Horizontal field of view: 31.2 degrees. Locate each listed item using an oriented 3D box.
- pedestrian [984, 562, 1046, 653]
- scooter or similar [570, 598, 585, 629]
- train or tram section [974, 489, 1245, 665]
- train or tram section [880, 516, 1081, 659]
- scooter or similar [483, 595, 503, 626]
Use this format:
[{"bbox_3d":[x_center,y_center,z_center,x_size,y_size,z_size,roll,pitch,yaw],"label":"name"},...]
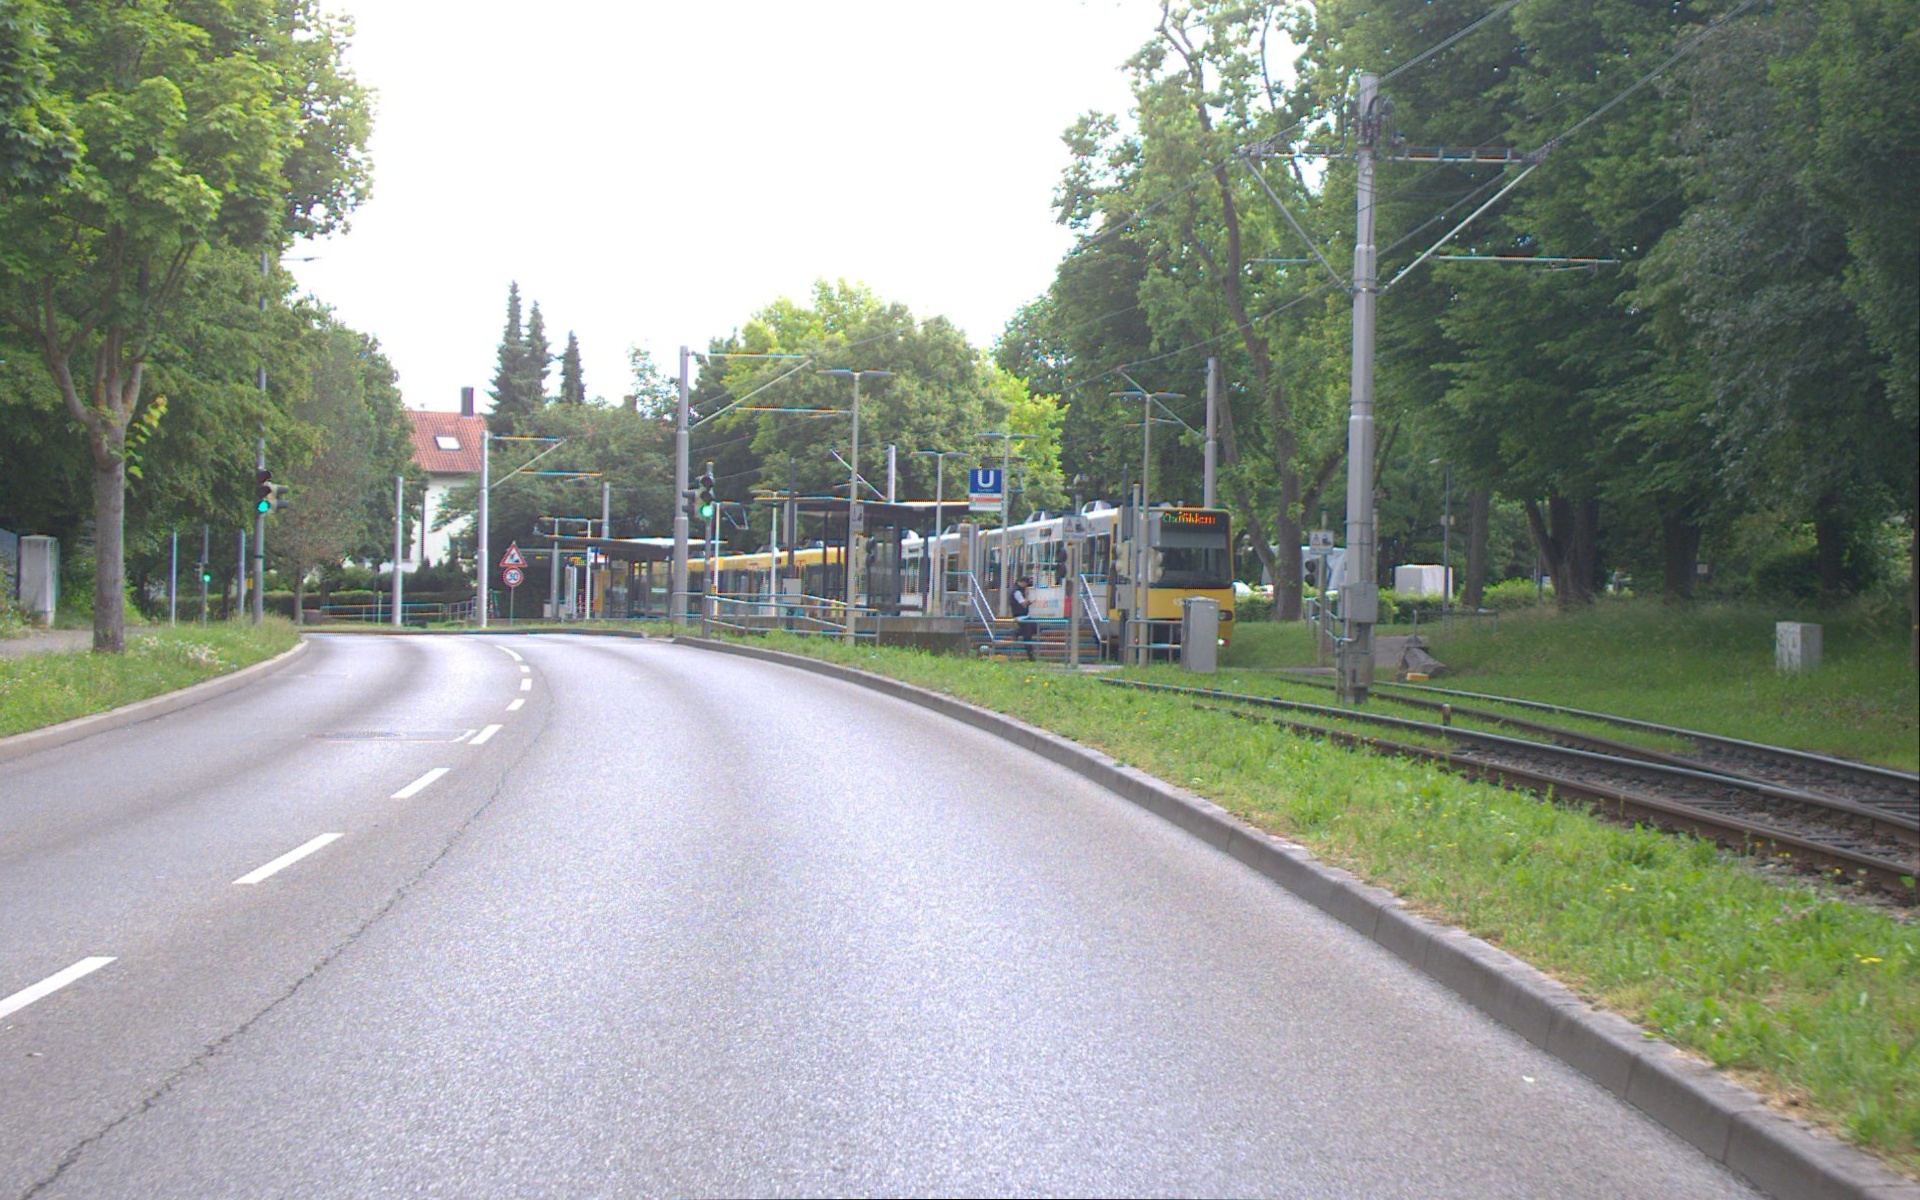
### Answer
[{"bbox_3d":[1.084,0.146,67.816,0.983,1.752,0.730,2,0,-19],"label":"pedestrian"},{"bbox_3d":[-15.277,0.538,137.160,0.368,1.238,1.146,1,-1,-17],"label":"scooter or similar"},{"bbox_3d":[3.288,-0.390,83.517,2.812,3.724,18.535,2,-1,-9],"label":"train or tram section"},{"bbox_3d":[0.355,-0.234,102.143,2.812,3.786,18.937,2,-1,-9],"label":"train or tram section"},{"bbox_3d":[-19.866,0.446,146.239,0.430,1.249,1.255,0,-3,-26],"label":"scooter or similar"}]
